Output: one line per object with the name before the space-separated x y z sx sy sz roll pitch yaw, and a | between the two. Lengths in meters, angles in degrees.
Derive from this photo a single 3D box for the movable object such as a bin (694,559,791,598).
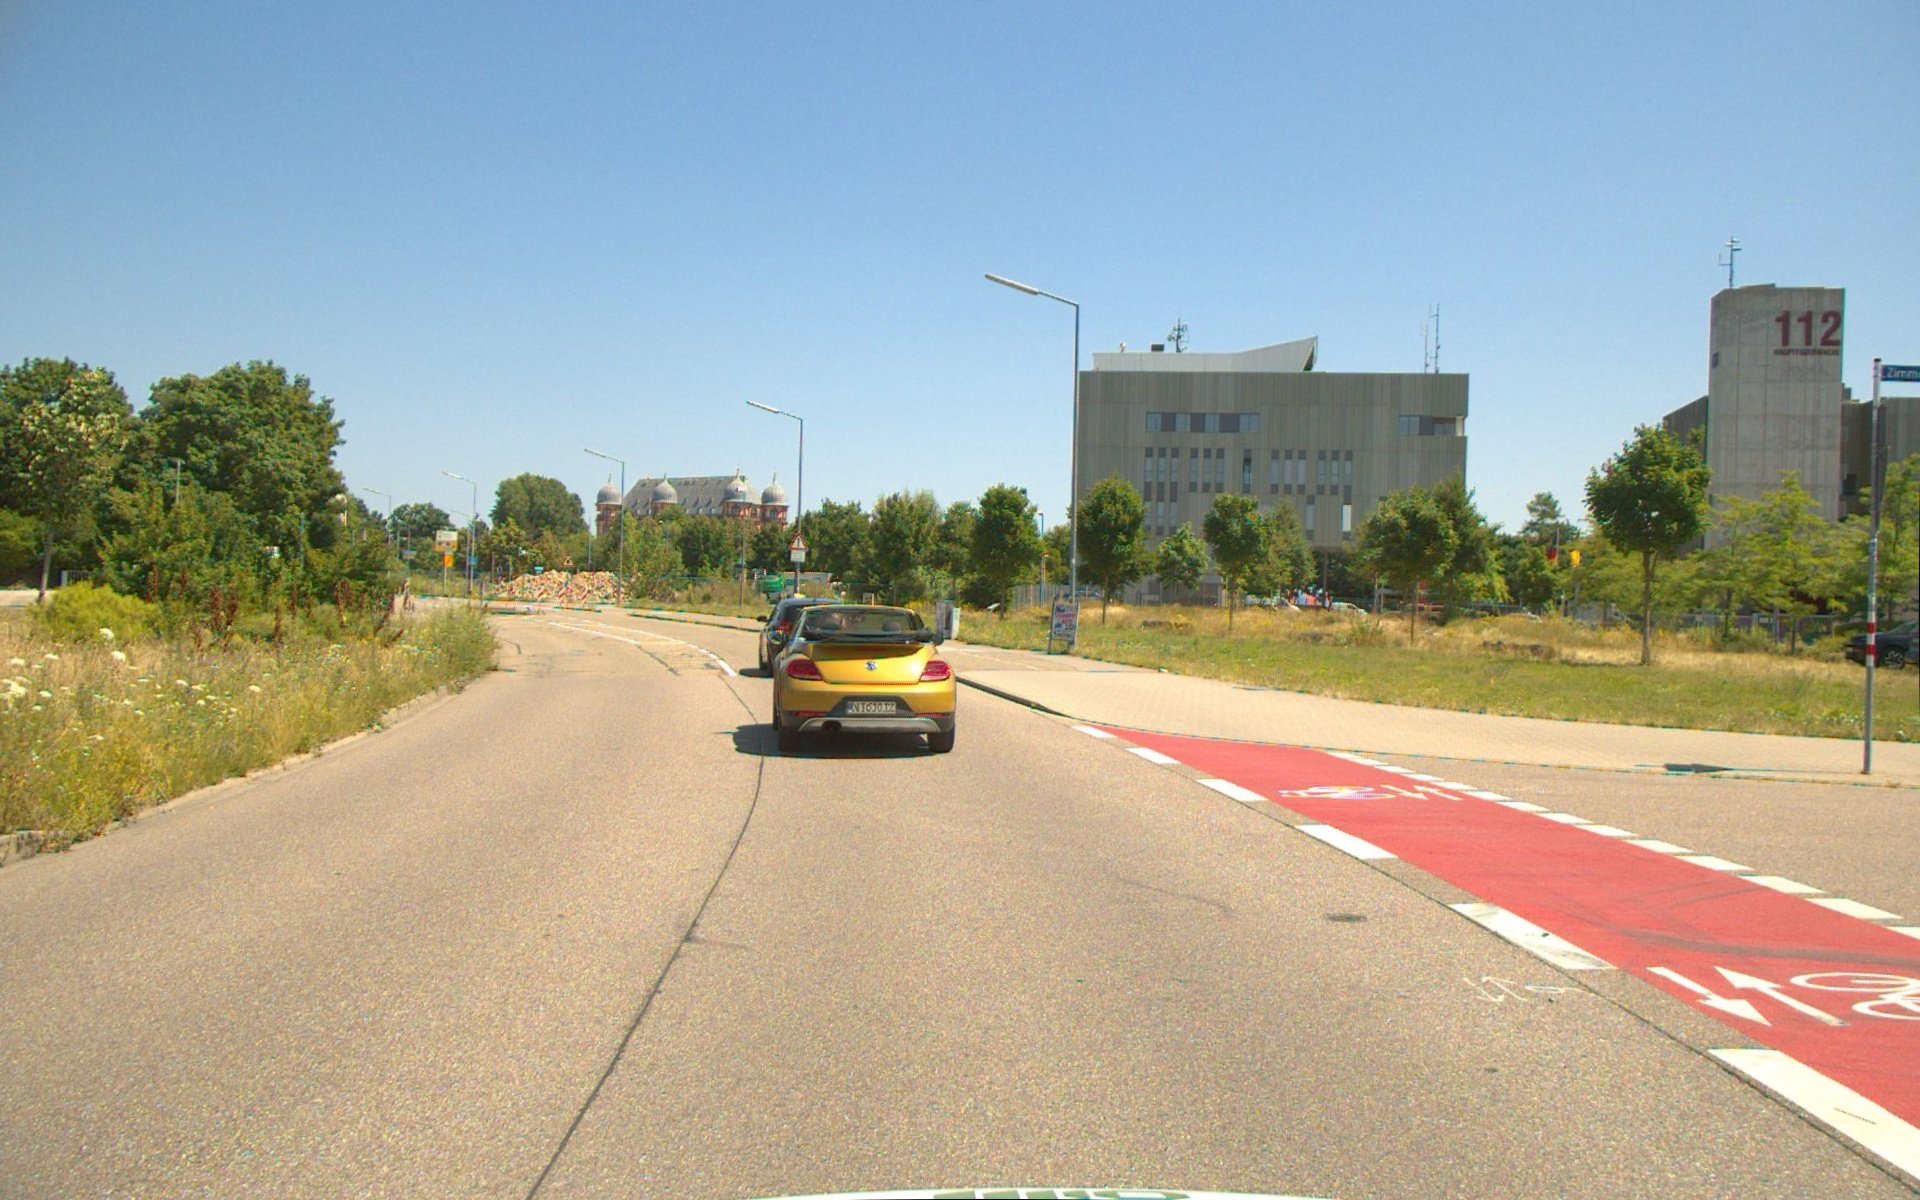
movable object such as a bin | -20.038 -2.012 151.686 4.892 3.317 10.353 2 0 -32

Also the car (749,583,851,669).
car | -2.974 0.456 31.358 1.692 1.468 3.998 2 0 -3

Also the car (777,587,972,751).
car | -0.992 0.632 17.220 1.756 1.461 3.808 2 0 -7

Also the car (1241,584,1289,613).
car | 25.149 -0.112 136.293 3.760 2.334 1.744 2 0 12

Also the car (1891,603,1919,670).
car | 26.231 0.976 42.110 3.971 1.680 1.956 2 0 11

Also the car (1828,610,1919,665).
car | 27.202 1.074 47.007 4.026 1.470 1.963 2 0 5
